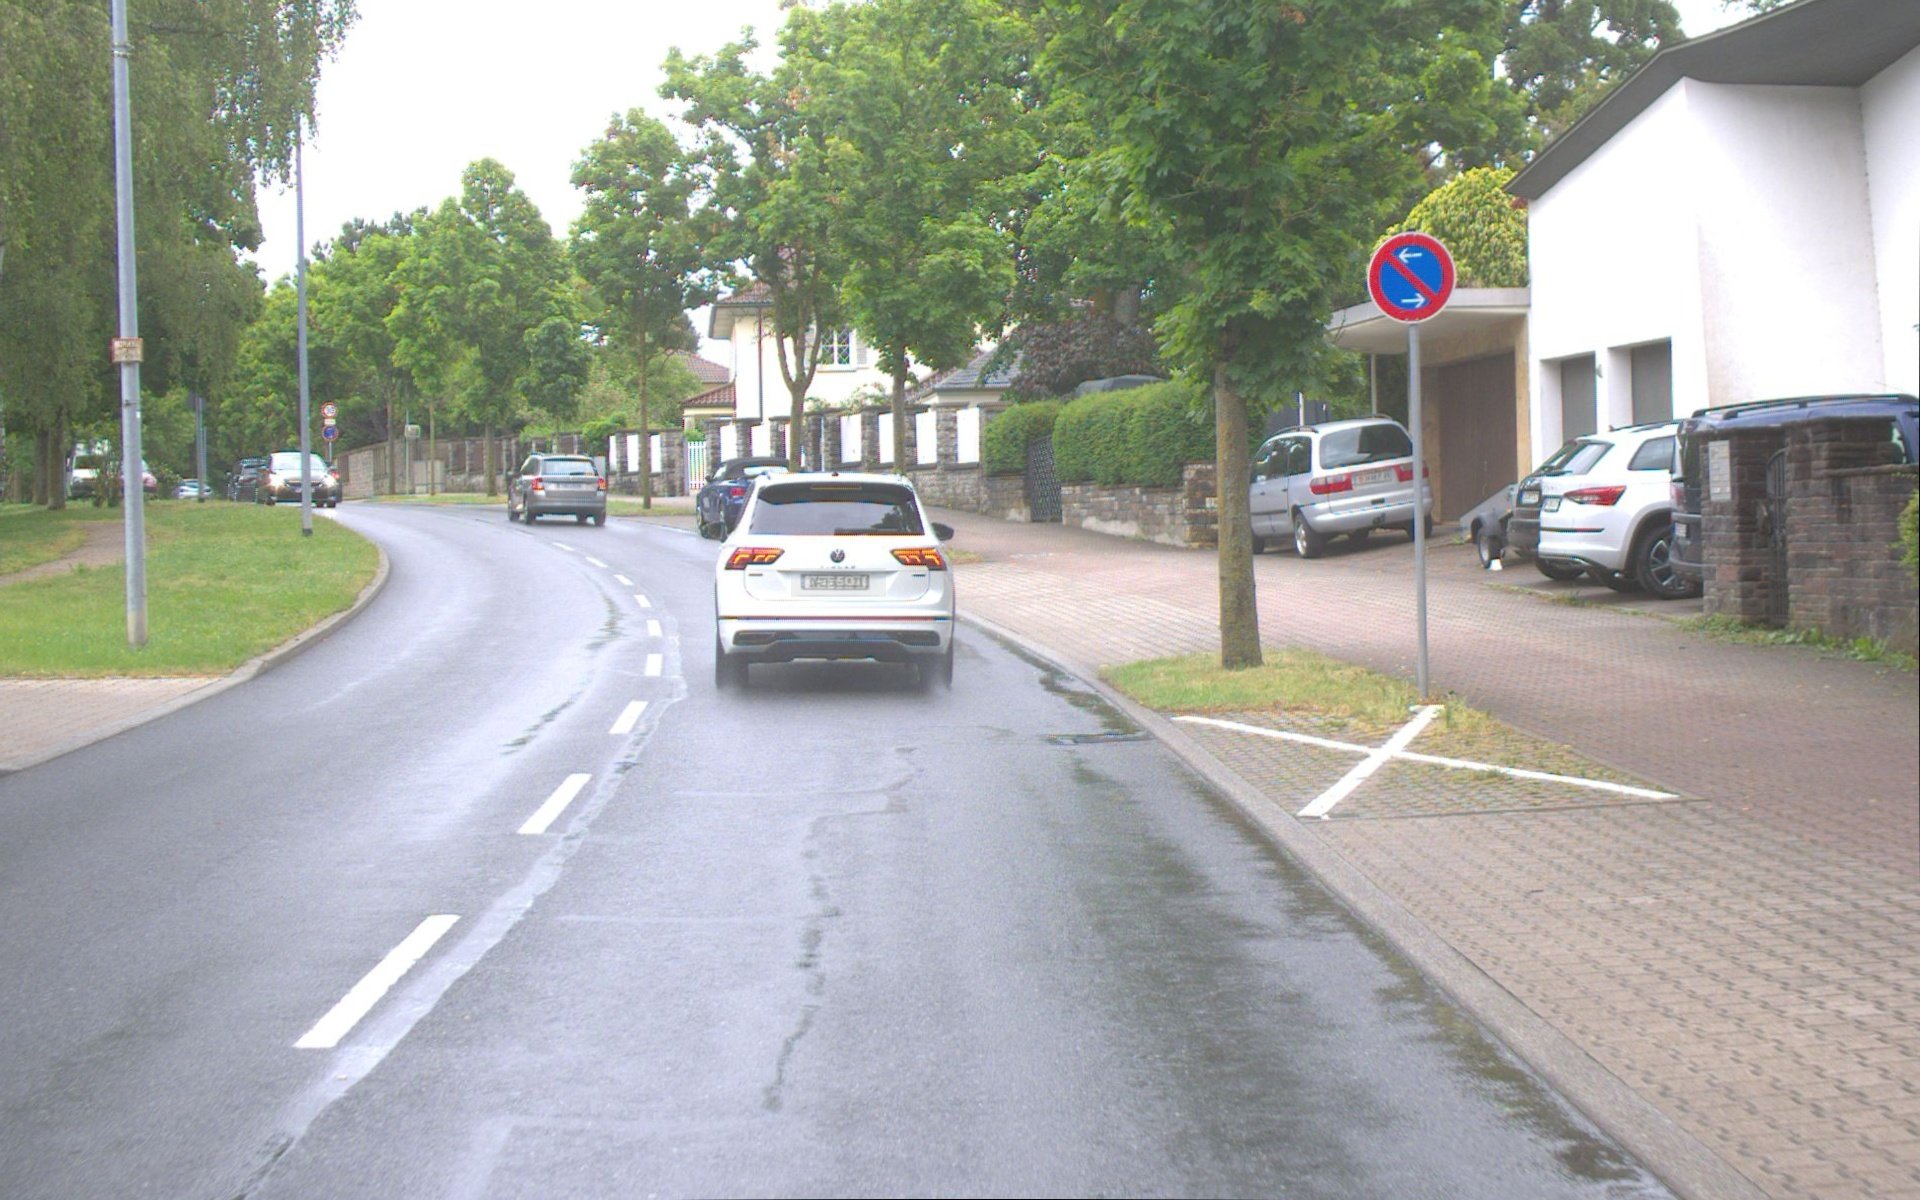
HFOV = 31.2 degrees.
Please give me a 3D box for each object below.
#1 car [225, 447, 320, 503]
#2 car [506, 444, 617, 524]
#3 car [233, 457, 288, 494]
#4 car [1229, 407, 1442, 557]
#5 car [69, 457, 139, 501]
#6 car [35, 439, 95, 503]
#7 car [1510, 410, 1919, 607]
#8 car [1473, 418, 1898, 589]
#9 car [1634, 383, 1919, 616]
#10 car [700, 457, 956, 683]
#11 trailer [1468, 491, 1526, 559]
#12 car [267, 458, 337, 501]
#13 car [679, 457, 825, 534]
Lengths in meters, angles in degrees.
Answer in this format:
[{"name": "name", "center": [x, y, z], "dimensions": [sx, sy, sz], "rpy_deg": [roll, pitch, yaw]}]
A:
[{"name": "car", "center": [-17.980, -3.268, 89.775], "dimensions": [1.766, 1.422, 4.001], "rpy_deg": [0, 2, -21]}, {"name": "car", "center": [-8.363, -2.411, 71.947], "dimensions": [1.768, 1.546, 4.001], "rpy_deg": [-1, 0, -14]}, {"name": "car", "center": [-27.465, -4.894, 134.896], "dimensions": [1.642, 1.422, 4.002], "rpy_deg": [0, 2, -18]}, {"name": "car", "center": [5.086, -1.646, 47.028], "dimensions": [1.823, 1.698, 4.001], "rpy_deg": [-9, 4, -6]}, {"name": "car", "center": [-28.332, -4.019, 113.753], "dimensions": [1.766, 1.422, 4.001], "rpy_deg": [0, 2, -21]}, {"name": "car", "center": [-34.253, -4.934, 131.503], "dimensions": [1.766, 2.378, 4.001], "rpy_deg": [0, 2, -21]}, {"name": "car", "center": [7.534, -0.907, 33.301], "dimensions": [3.986, 1.805, 1.830], "rpy_deg": [1, 3, -5]}, {"name": "car", "center": [7.624, -1.039, 36.359], "dimensions": [3.986, 1.702, 1.830], "rpy_deg": [1, 3, -5]}, {"name": "car", "center": [8.325, -0.920, 31.059], "dimensions": [3.986, 2.006, 1.830], "rpy_deg": [1, 3, -5]}, {"name": "car", "center": [-1.092, -0.294, 27.356], "dimensions": [1.865, 1.645, 4.001], "rpy_deg": [1, 2, -3]}, {"name": "trailer", "center": [6.039, -0.842, 38.714], "dimensions": [0.418, 0.754, 1.367], "rpy_deg": [1, 1, -1]}, {"name": "car", "center": [-22.422, -4.123, 117.093], "dimensions": [1.642, 1.422, 4.001], "rpy_deg": [0, 2, -21]}, {"name": "car", "center": [-4.001, -2.009, 65.540], "dimensions": [1.642, 1.422, 4.001], "rpy_deg": [0, 2, -21]}]
